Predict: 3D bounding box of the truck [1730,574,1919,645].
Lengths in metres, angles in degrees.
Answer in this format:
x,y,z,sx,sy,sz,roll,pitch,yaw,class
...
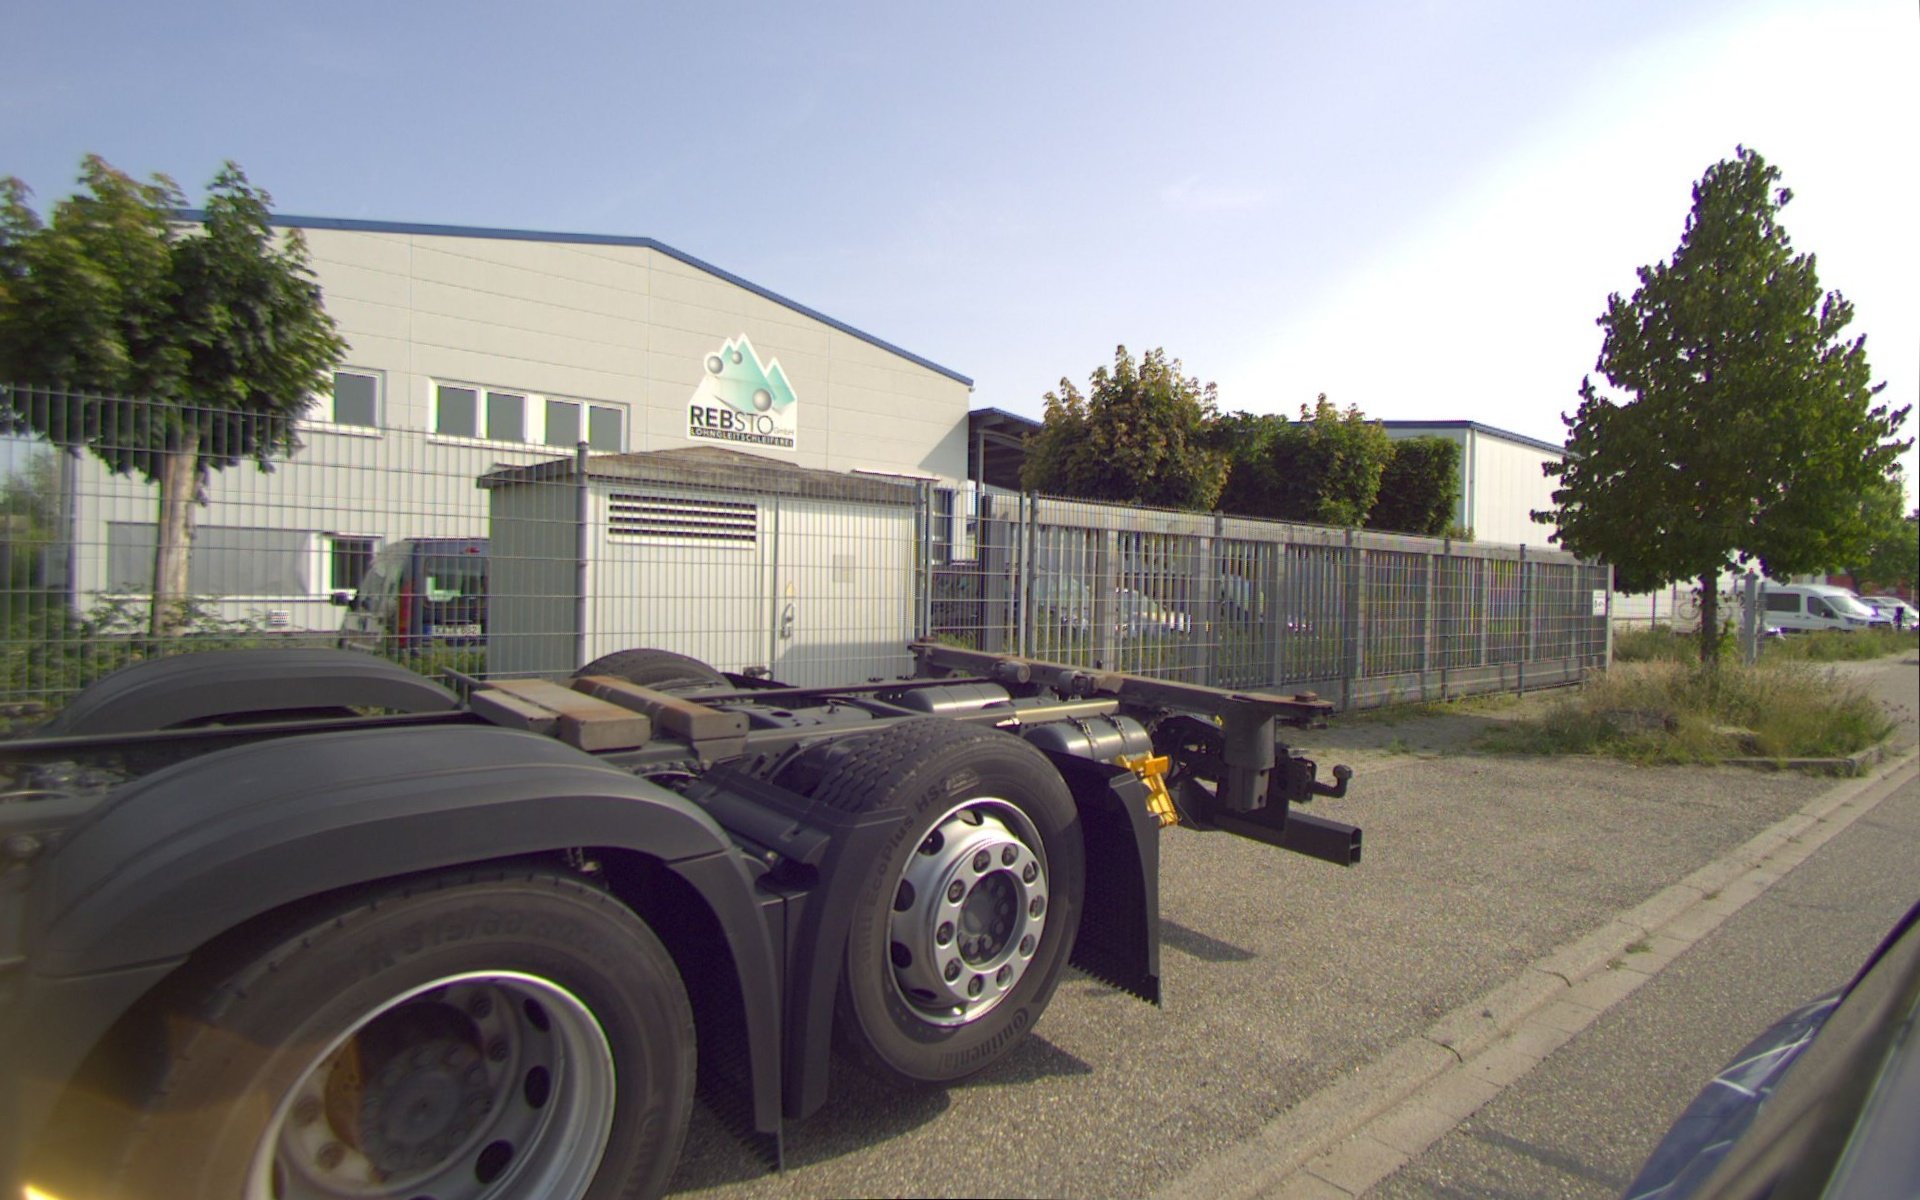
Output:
x,y,z,sx,sy,sz,roll,pitch,yaw,class
34.578,0.277,40.439,2.229,2.562,6.222,1,1,-8,truck

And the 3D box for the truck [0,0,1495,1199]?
x,y,z,sx,sy,sz,roll,pitch,yaw,class
-2.520,-0.759,1.769,9.516,4.064,2.752,0,3,-41,truck

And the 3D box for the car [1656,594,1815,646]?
x,y,z,sx,sy,sz,roll,pitch,yaw,class
25.040,0.599,32.872,1.860,1.516,4.004,1,1,-5,car

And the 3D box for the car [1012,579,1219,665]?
x,y,z,sx,sy,sz,roll,pitch,yaw,class
2.937,0.361,19.872,1.720,1.480,4.020,0,1,-35,car

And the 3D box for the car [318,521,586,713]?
x,y,z,sx,sy,sz,roll,pitch,yaw,class
-6.121,0.127,11.954,1.878,1.858,4.097,0,1,-41,car

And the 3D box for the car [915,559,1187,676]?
x,y,z,sx,sy,sz,roll,pitch,yaw,class
1.443,0.210,17.445,1.967,1.743,4.489,0,1,-44,car

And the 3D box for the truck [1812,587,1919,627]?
x,y,z,sx,sy,sz,roll,pitch,yaw,class
49.957,0.335,54.927,2.231,2.047,5.836,1,1,-3,truck
